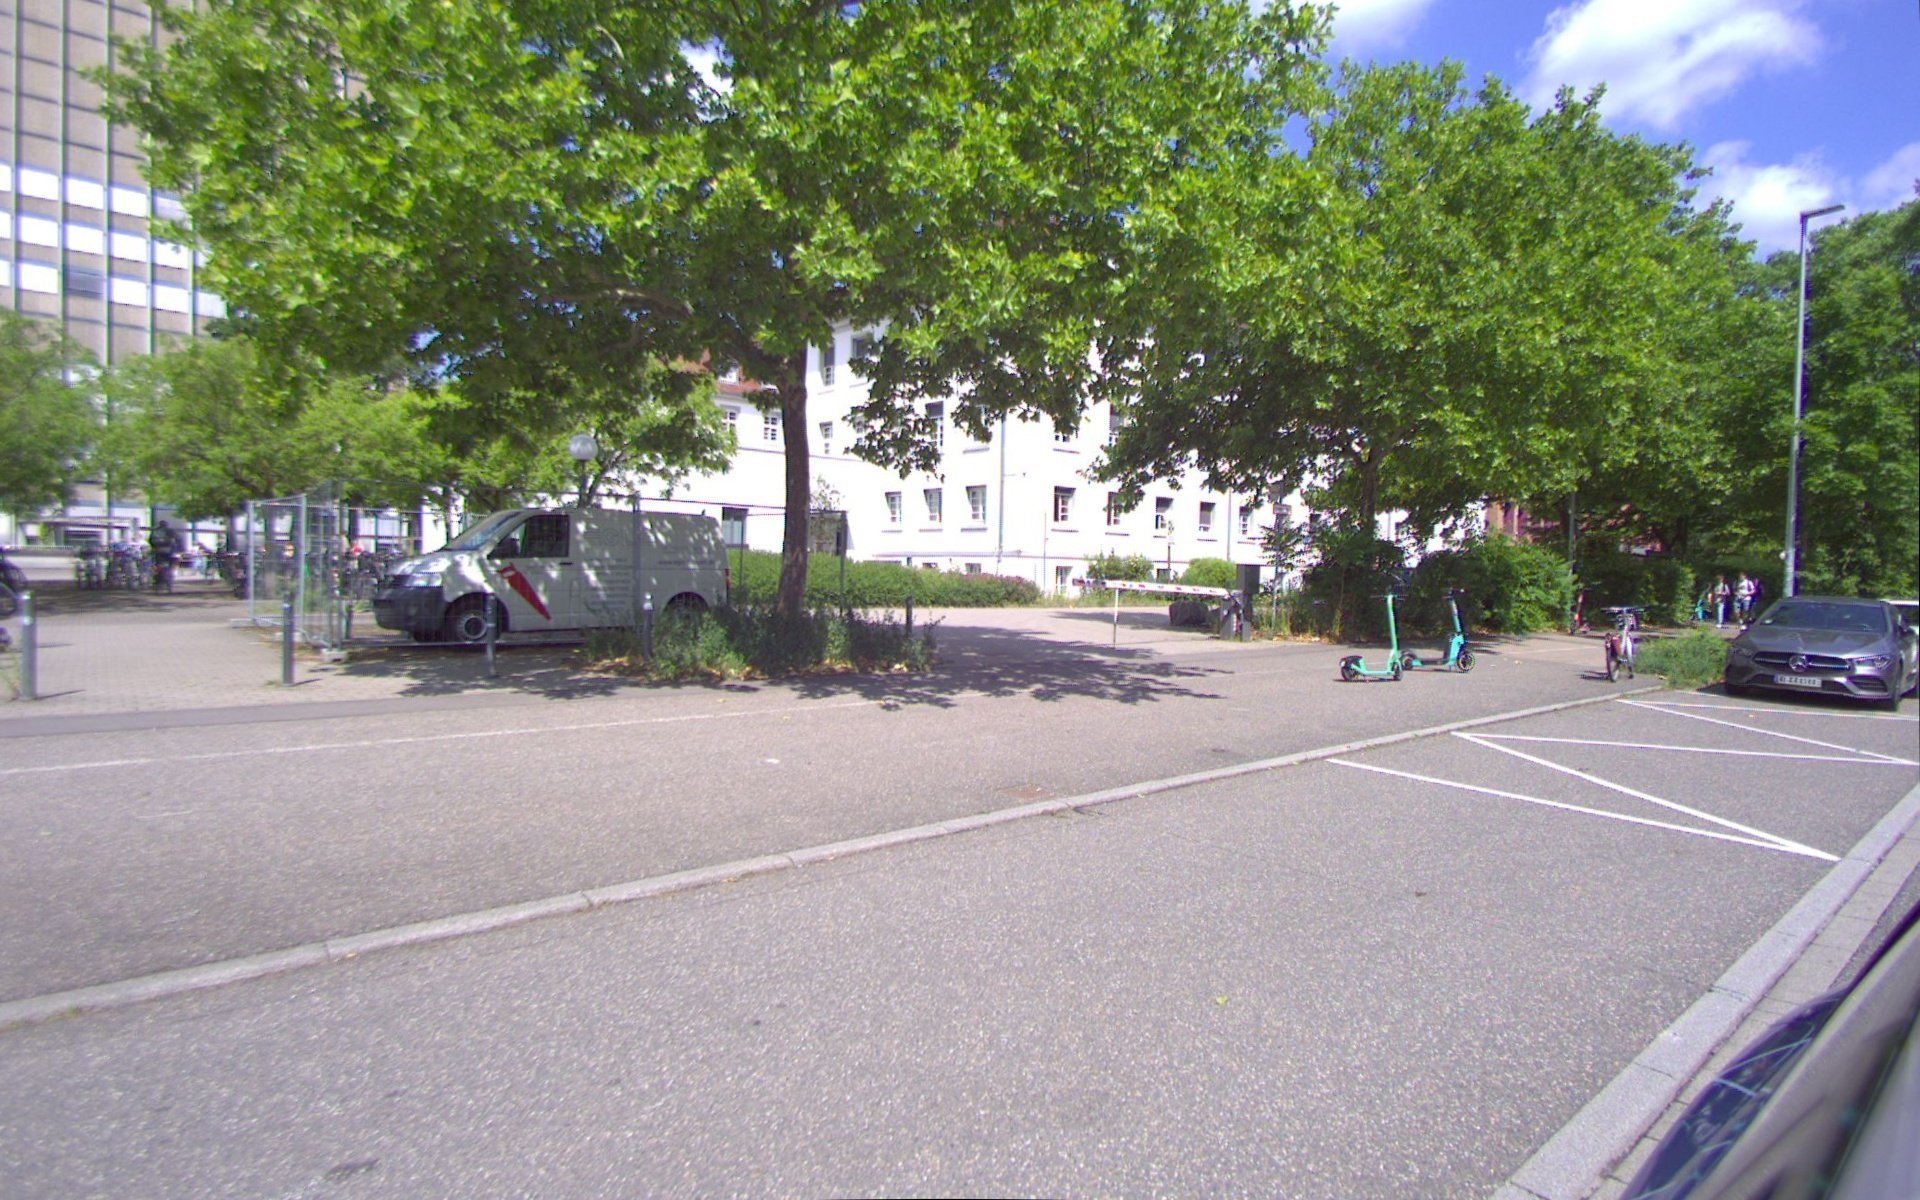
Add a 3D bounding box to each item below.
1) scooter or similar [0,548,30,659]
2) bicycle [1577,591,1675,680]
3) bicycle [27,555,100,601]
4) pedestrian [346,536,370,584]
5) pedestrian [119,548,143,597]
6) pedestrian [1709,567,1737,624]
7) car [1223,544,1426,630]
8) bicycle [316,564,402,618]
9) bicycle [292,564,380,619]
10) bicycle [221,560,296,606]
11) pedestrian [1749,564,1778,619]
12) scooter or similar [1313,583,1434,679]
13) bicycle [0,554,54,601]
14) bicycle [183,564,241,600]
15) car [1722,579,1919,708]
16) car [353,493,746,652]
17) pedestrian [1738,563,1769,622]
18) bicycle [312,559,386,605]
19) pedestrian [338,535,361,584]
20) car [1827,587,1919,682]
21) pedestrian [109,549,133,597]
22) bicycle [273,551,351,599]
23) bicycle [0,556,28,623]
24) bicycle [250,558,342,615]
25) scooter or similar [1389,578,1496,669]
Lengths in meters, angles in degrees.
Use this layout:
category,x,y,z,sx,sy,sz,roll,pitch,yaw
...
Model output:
category,x,y,z,sx,sy,sz,roll,pitch,yaw
scooter or similar,-11.270,0.021,11.842,1.290,1.248,0.277,1,2,36
bicycle,9.922,0.498,15.046,2.082,1.205,0.639,0,3,-42
bicycle,-22.473,-0.539,25.367,1.744,1.113,0.600,0,0,19
pedestrian,-28.172,-1.864,47.366,0.626,2.257,0.712,0,0,19
pedestrian,-38.823,-1.295,47.379,0.701,2.257,0.635,0,0,-23
pedestrian,24.339,-0.146,32.280,0.680,1.803,0.781,-1,0,36
car,8.356,-0.295,23.419,1.967,1.805,3.990,-1,0,-43
bicycle,-12.871,-0.187,21.664,1.745,1.113,0.600,0,0,19
bicycle,-12.972,-0.167,21.032,1.745,1.113,0.600,0,0,19
bicycle,-17.272,-0.412,24.926,1.744,1.113,0.600,0,0,19
pedestrian,26.626,-0.278,33.534,0.681,1.803,0.779,-1,0,42
scooter or similar,5.403,0.401,13.211,1.542,1.183,0.531,1,2,-28
bicycle,-22.964,-0.528,24.626,1.744,1.113,0.600,0,0,19
bicycle,-23.938,-0.573,32.394,1.744,1.113,0.600,0,0,19
car,12.837,0.533,14.642,4.855,1.496,1.861,1,3,-41
car,-5.656,-0.378,14.417,4.860,1.888,1.899,-1,1,-44
pedestrian,24.894,-0.232,31.748,0.679,1.803,0.782,-1,0,33
bicycle,-15.198,-0.450,25.169,1.744,1.113,0.600,0,0,19
pedestrian,-28.779,-1.889,47.706,0.626,2.257,0.712,0,0,19
car,17.146,0.583,17.700,4.846,1.468,1.745,1,3,-34
pedestrian,-40.454,-1.294,48.802,0.701,2.257,0.635,0,0,-23
bicycle,-15.542,-0.598,24.274,1.744,1.112,0.600,0,2,19
bicycle,-16.540,-0.170,16.960,1.745,1.113,0.600,0,0,19
bicycle,-13.289,-0.259,20.242,1.745,1.113,0.600,0,0,19
scooter or similar,7.081,0.340,14.863,1.263,1.261,0.531,2,2,-6
